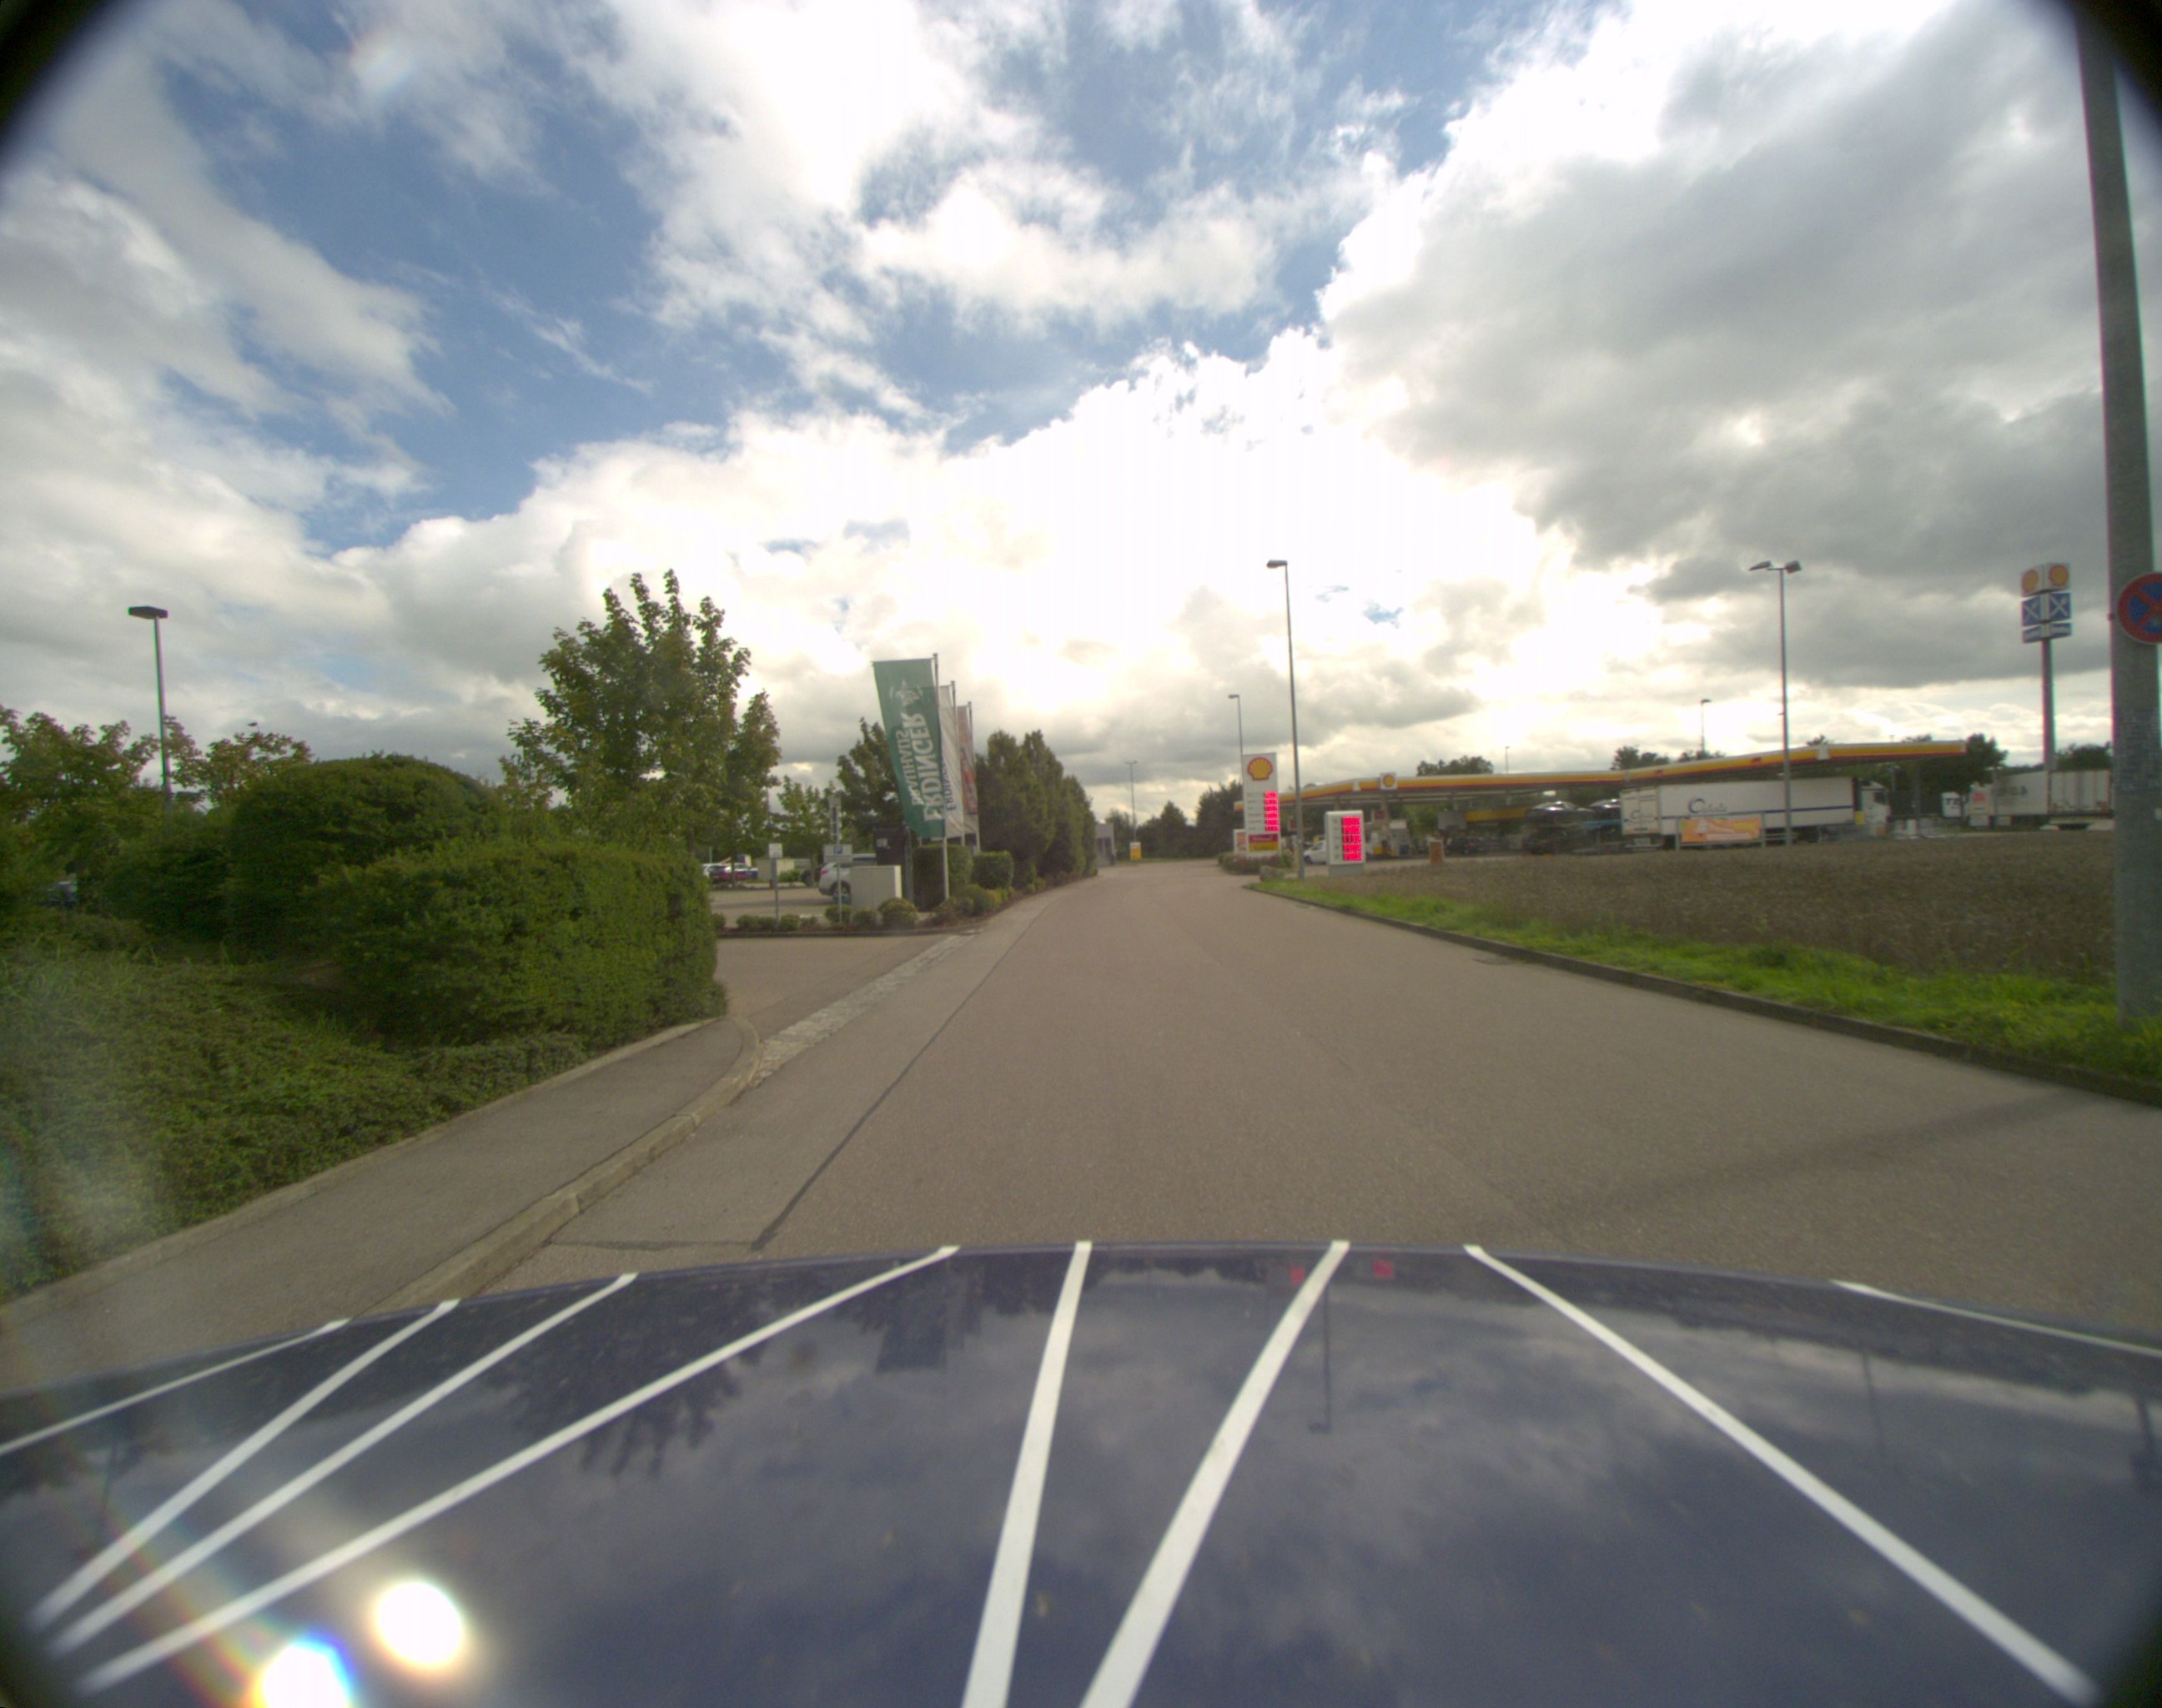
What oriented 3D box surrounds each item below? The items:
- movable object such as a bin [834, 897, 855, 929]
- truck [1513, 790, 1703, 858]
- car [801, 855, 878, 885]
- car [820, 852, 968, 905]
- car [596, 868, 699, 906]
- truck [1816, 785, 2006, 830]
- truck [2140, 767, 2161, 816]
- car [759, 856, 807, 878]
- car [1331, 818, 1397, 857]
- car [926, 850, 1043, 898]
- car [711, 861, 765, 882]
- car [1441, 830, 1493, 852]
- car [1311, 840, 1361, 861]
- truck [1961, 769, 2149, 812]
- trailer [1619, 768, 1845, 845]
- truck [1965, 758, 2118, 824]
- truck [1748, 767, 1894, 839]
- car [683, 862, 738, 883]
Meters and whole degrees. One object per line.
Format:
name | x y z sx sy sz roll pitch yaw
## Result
movable object such as a bin | -5.386 1.343 17.302 0.288 0.680 0.368 -3 1 12
truck | 35.256 -2.034 50.712 13.266 3.901 2.748 -3 2 -17
car | -15.510 1.013 48.858 4.358 1.706 1.658 -3 0 9
car | -6.570 0.859 26.895 4.672 1.687 1.920 -1 1 12
car | -20.680 1.562 36.293 3.992 1.562 2.002 -3 0 18
truck | 85.201 -4.688 78.574 12.978 3.871 2.829 -2 2 37
truck | 90.879 -5.286 61.579 2.986 4.086 11.596 -3 0 40
car | -24.282 1.055 62.073 1.720 1.605 4.002 -3 0 10
car | 22.157 -1.294 59.404 5.819 2.770 2.219 -3 0 -41
car | -3.877 0.797 30.875 4.358 1.706 1.658 -3 0 9
car | -27.823 1.390 61.782 1.603 1.510 4.005 -3 0 18
car | 31.071 -1.029 61.246 1.717 1.592 3.757 -3 0 -13
car | 21.173 -0.277 63.003 3.967 1.550 1.995 -3 0 -37
truck | 109.531 -7.027 85.927 12.774 3.871 2.829 -2 2 35
trailer | 39.578 -2.874 46.250 12.847 4.001 2.710 -3 1 -9
truck | 69.342 -4.403 55.387 2.955 4.089 14.774 -2 2 36
truck | 46.059 -3.147 47.345 7.169 4.001 2.710 -3 1 -9
car | -30.320 1.511 62.302 1.713 1.510 4.005 -3 0 18
